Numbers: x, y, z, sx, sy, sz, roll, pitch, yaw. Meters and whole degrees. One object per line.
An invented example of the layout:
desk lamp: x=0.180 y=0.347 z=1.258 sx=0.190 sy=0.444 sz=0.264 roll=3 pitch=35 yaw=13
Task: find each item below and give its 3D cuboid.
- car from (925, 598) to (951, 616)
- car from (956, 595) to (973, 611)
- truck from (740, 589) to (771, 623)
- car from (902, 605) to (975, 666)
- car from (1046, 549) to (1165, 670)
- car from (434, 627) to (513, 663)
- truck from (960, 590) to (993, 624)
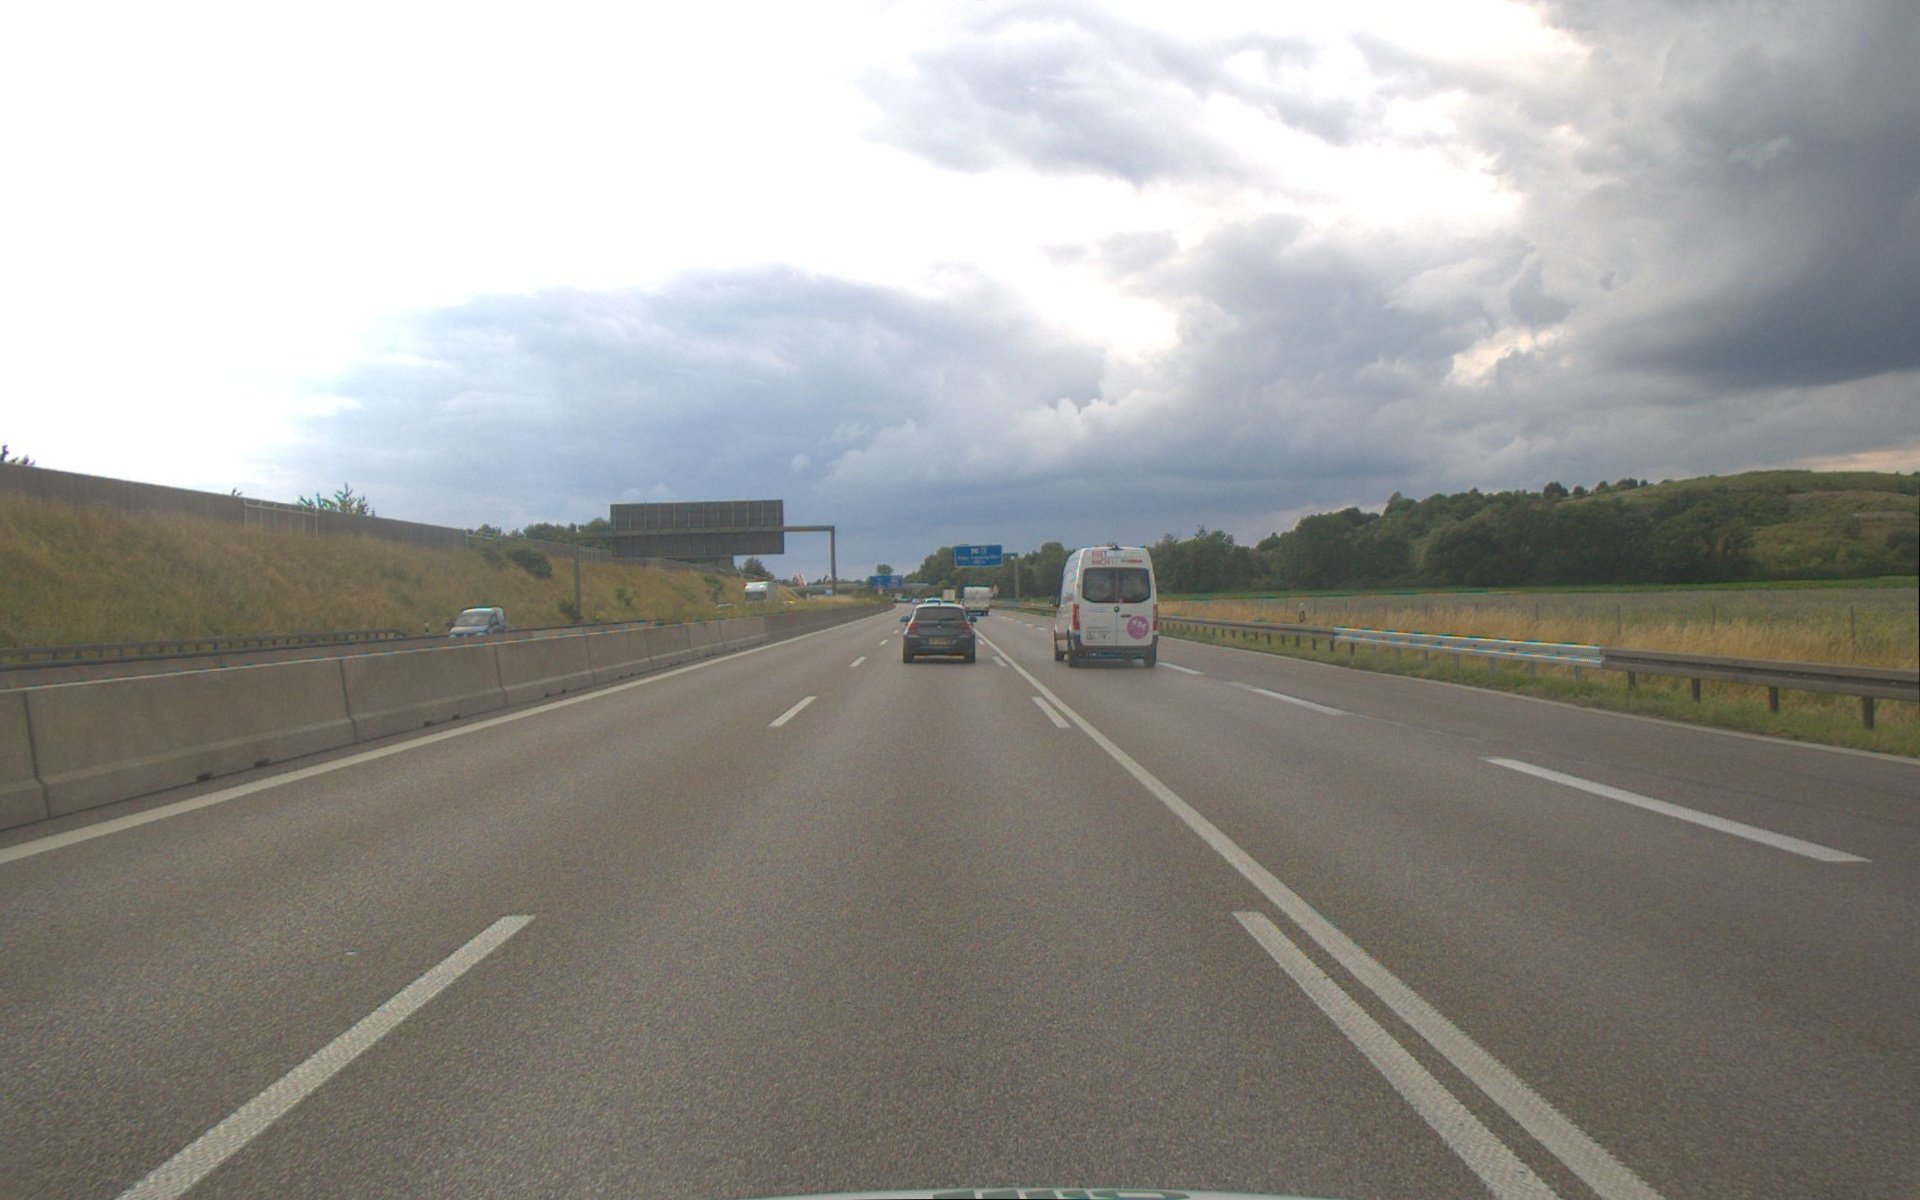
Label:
car: x=-1.752 y=0.533 z=131.583 sx=1.953 sy=1.321 sz=3.999 roll=-2 pitch=0 yaw=-1
car: x=0.590 y=0.361 z=206.401 sx=1.953 sy=2.049 sz=3.999 roll=-1 pitch=0 yaw=-1
truck: x=-23.405 y=0.662 z=189.672 sx=2.671 sy=3.741 sz=7.488 roll=-2 pitch=0 yaw=-1
car: x=-0.530 y=0.831 z=40.530 sx=1.708 sy=1.413 sz=3.999 roll=0 pitch=0 yaw=-1
car: x=3.346 y=0.200 z=39.238 sx=2.176 sy=2.613 sz=6.255 roll=0 pitch=0 yaw=-1
car: x=-20.589 y=1.889 z=70.223 sx=1.953 sy=1.388 sz=4.939 roll=1 pitch=0 yaw=-1
truck: x=1.460 y=0.684 z=154.242 sx=2.655 sy=3.016 sz=12.443 roll=1 pitch=0 yaw=-1
